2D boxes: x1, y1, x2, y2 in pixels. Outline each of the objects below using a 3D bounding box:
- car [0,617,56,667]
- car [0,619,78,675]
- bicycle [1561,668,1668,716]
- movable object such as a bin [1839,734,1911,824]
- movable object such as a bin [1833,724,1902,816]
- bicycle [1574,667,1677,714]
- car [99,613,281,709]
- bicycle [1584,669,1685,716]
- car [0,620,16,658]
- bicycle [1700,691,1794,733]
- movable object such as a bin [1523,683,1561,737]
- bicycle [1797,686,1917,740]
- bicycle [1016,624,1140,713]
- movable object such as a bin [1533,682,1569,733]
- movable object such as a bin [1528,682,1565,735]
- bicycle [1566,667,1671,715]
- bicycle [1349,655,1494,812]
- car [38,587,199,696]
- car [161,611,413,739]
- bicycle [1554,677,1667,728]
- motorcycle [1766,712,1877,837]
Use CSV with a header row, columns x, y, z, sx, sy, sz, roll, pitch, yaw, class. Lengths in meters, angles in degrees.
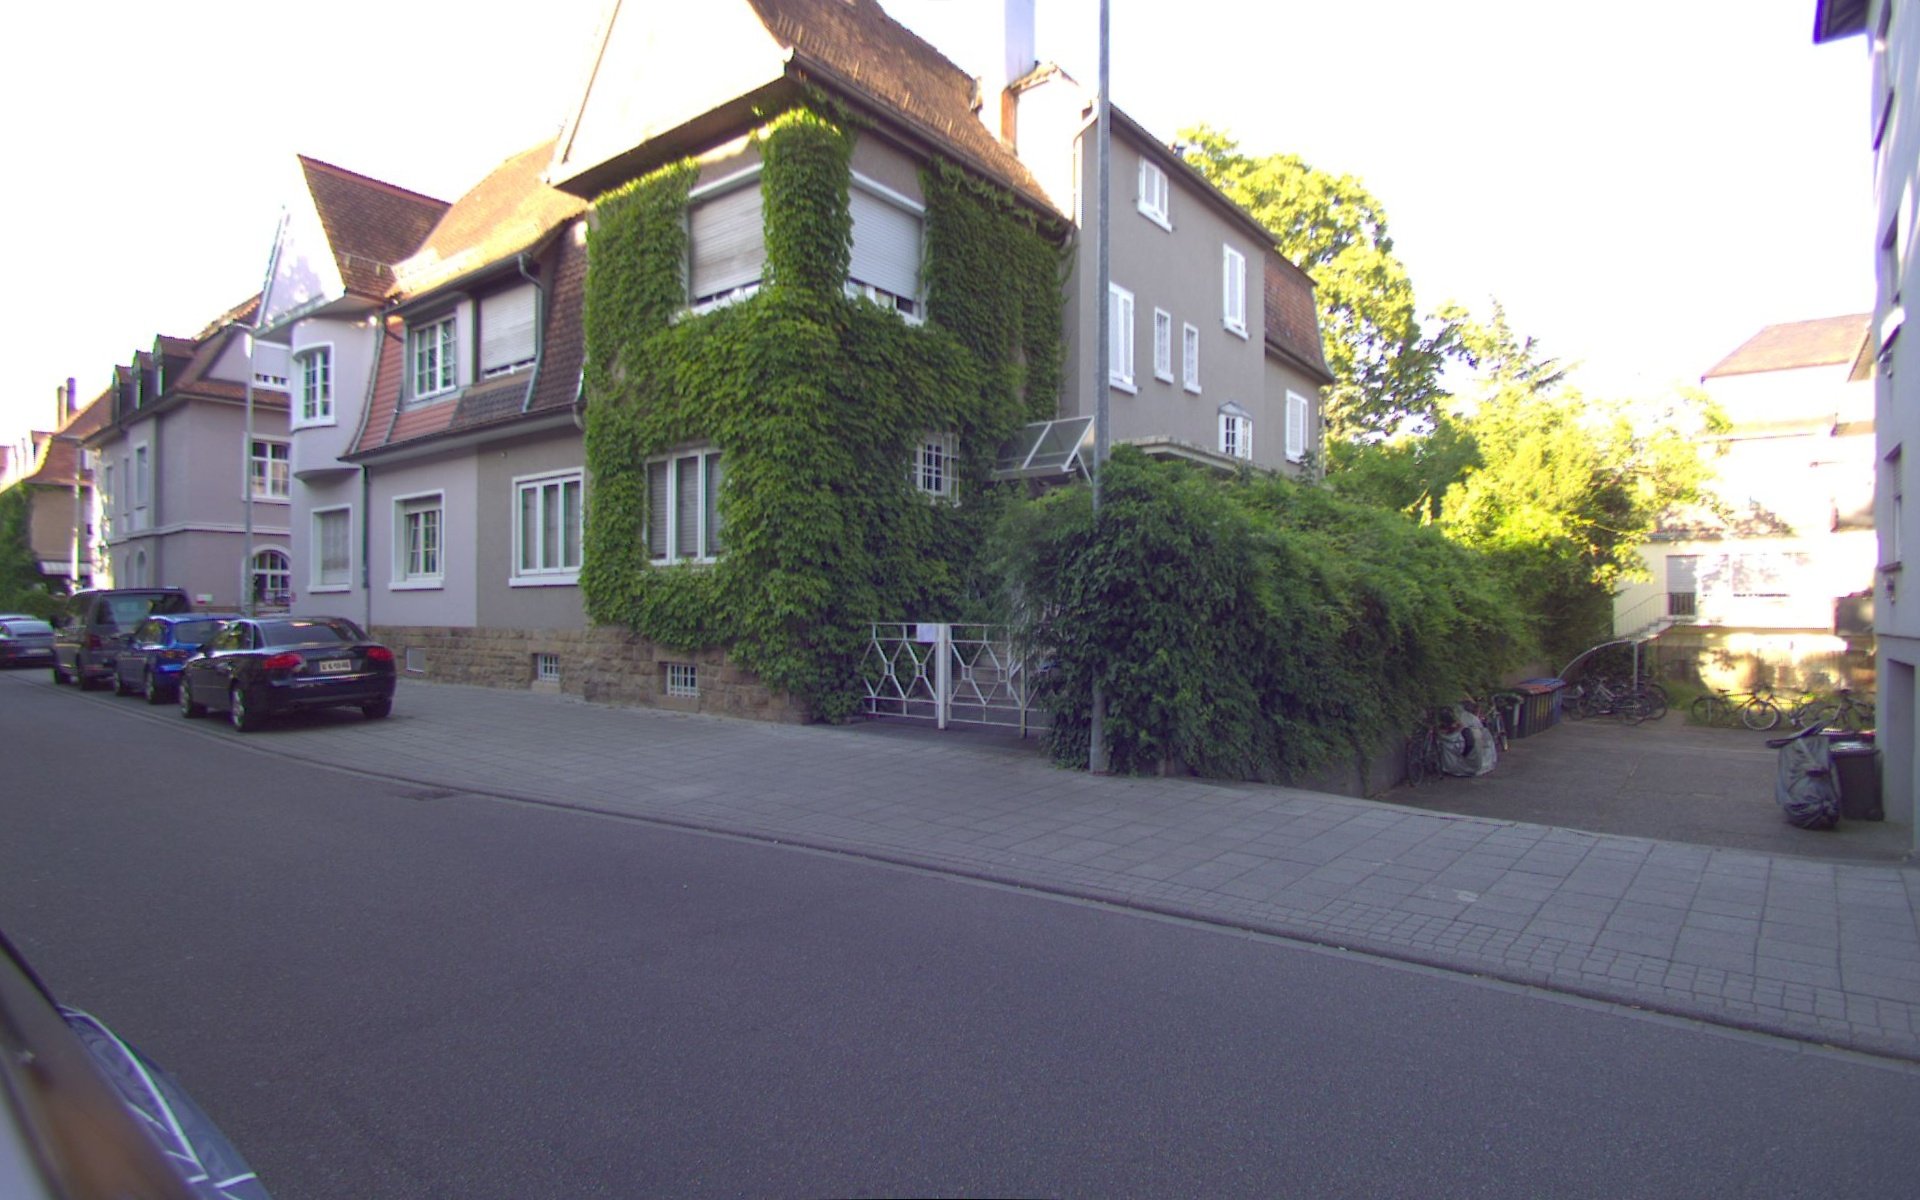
x,y,z,sx,sy,sz,roll,pitch,yaw,class
-30.181,1.309,32.030,4.061,1.478,1.907,-1,1,42,car
-26.167,1.277,28.296,4.063,1.394,1.906,-1,1,44,car
17.499,2.451,27.118,2.338,1.142,0.685,-1,-4,42,bicycle
11.709,2.276,12.967,0.611,1.045,0.532,-1,-4,37,movable object such as a bin
12.291,2.281,13.728,0.611,1.123,0.792,-1,-4,37,movable object such as a bin
18.609,2.524,28.338,2.338,1.186,0.685,-1,-4,42,bicycle
-13.644,0.988,17.845,4.060,1.457,1.745,-1,1,41,car
19.191,2.614,28.830,2.338,1.186,0.685,-1,-4,42,bicycle
-36.333,1.455,37.507,3.676,1.372,1.641,-1,1,42,car
18.885,2.676,24.301,1.754,0.886,0.558,-1,-4,42,bicycle
12.694,2.389,22.074,0.611,1.123,0.792,-1,-4,37,movable object such as a bin
20.362,2.551,23.027,2.005,1.080,0.558,-1,-4,42,bicycle
1.694,0.921,14.187,0.476,1.111,2.172,-1,-1,45,bicycle
13.640,2.458,23.348,0.611,1.123,0.792,-1,-4,37,movable object such as a bin
13.170,2.425,22.717,0.611,1.123,0.792,-1,-4,37,movable object such as a bin
18.051,2.485,27.770,2.338,1.186,0.685,-1,-4,42,bicycle
6.816,1.790,14.753,0.971,1.907,4.138,-1,-3,38,bicycle
-17.533,0.796,21.015,4.610,1.990,1.819,-1,1,41,car
-9.421,0.916,14.032,4.426,1.457,1.783,-1,1,41,car
16.232,2.534,25.303,2.294,1.142,0.685,-1,-4,42,bicycle
10.700,2.121,12.626,0.742,1.305,1.565,-1,-2,30,motorcycle
